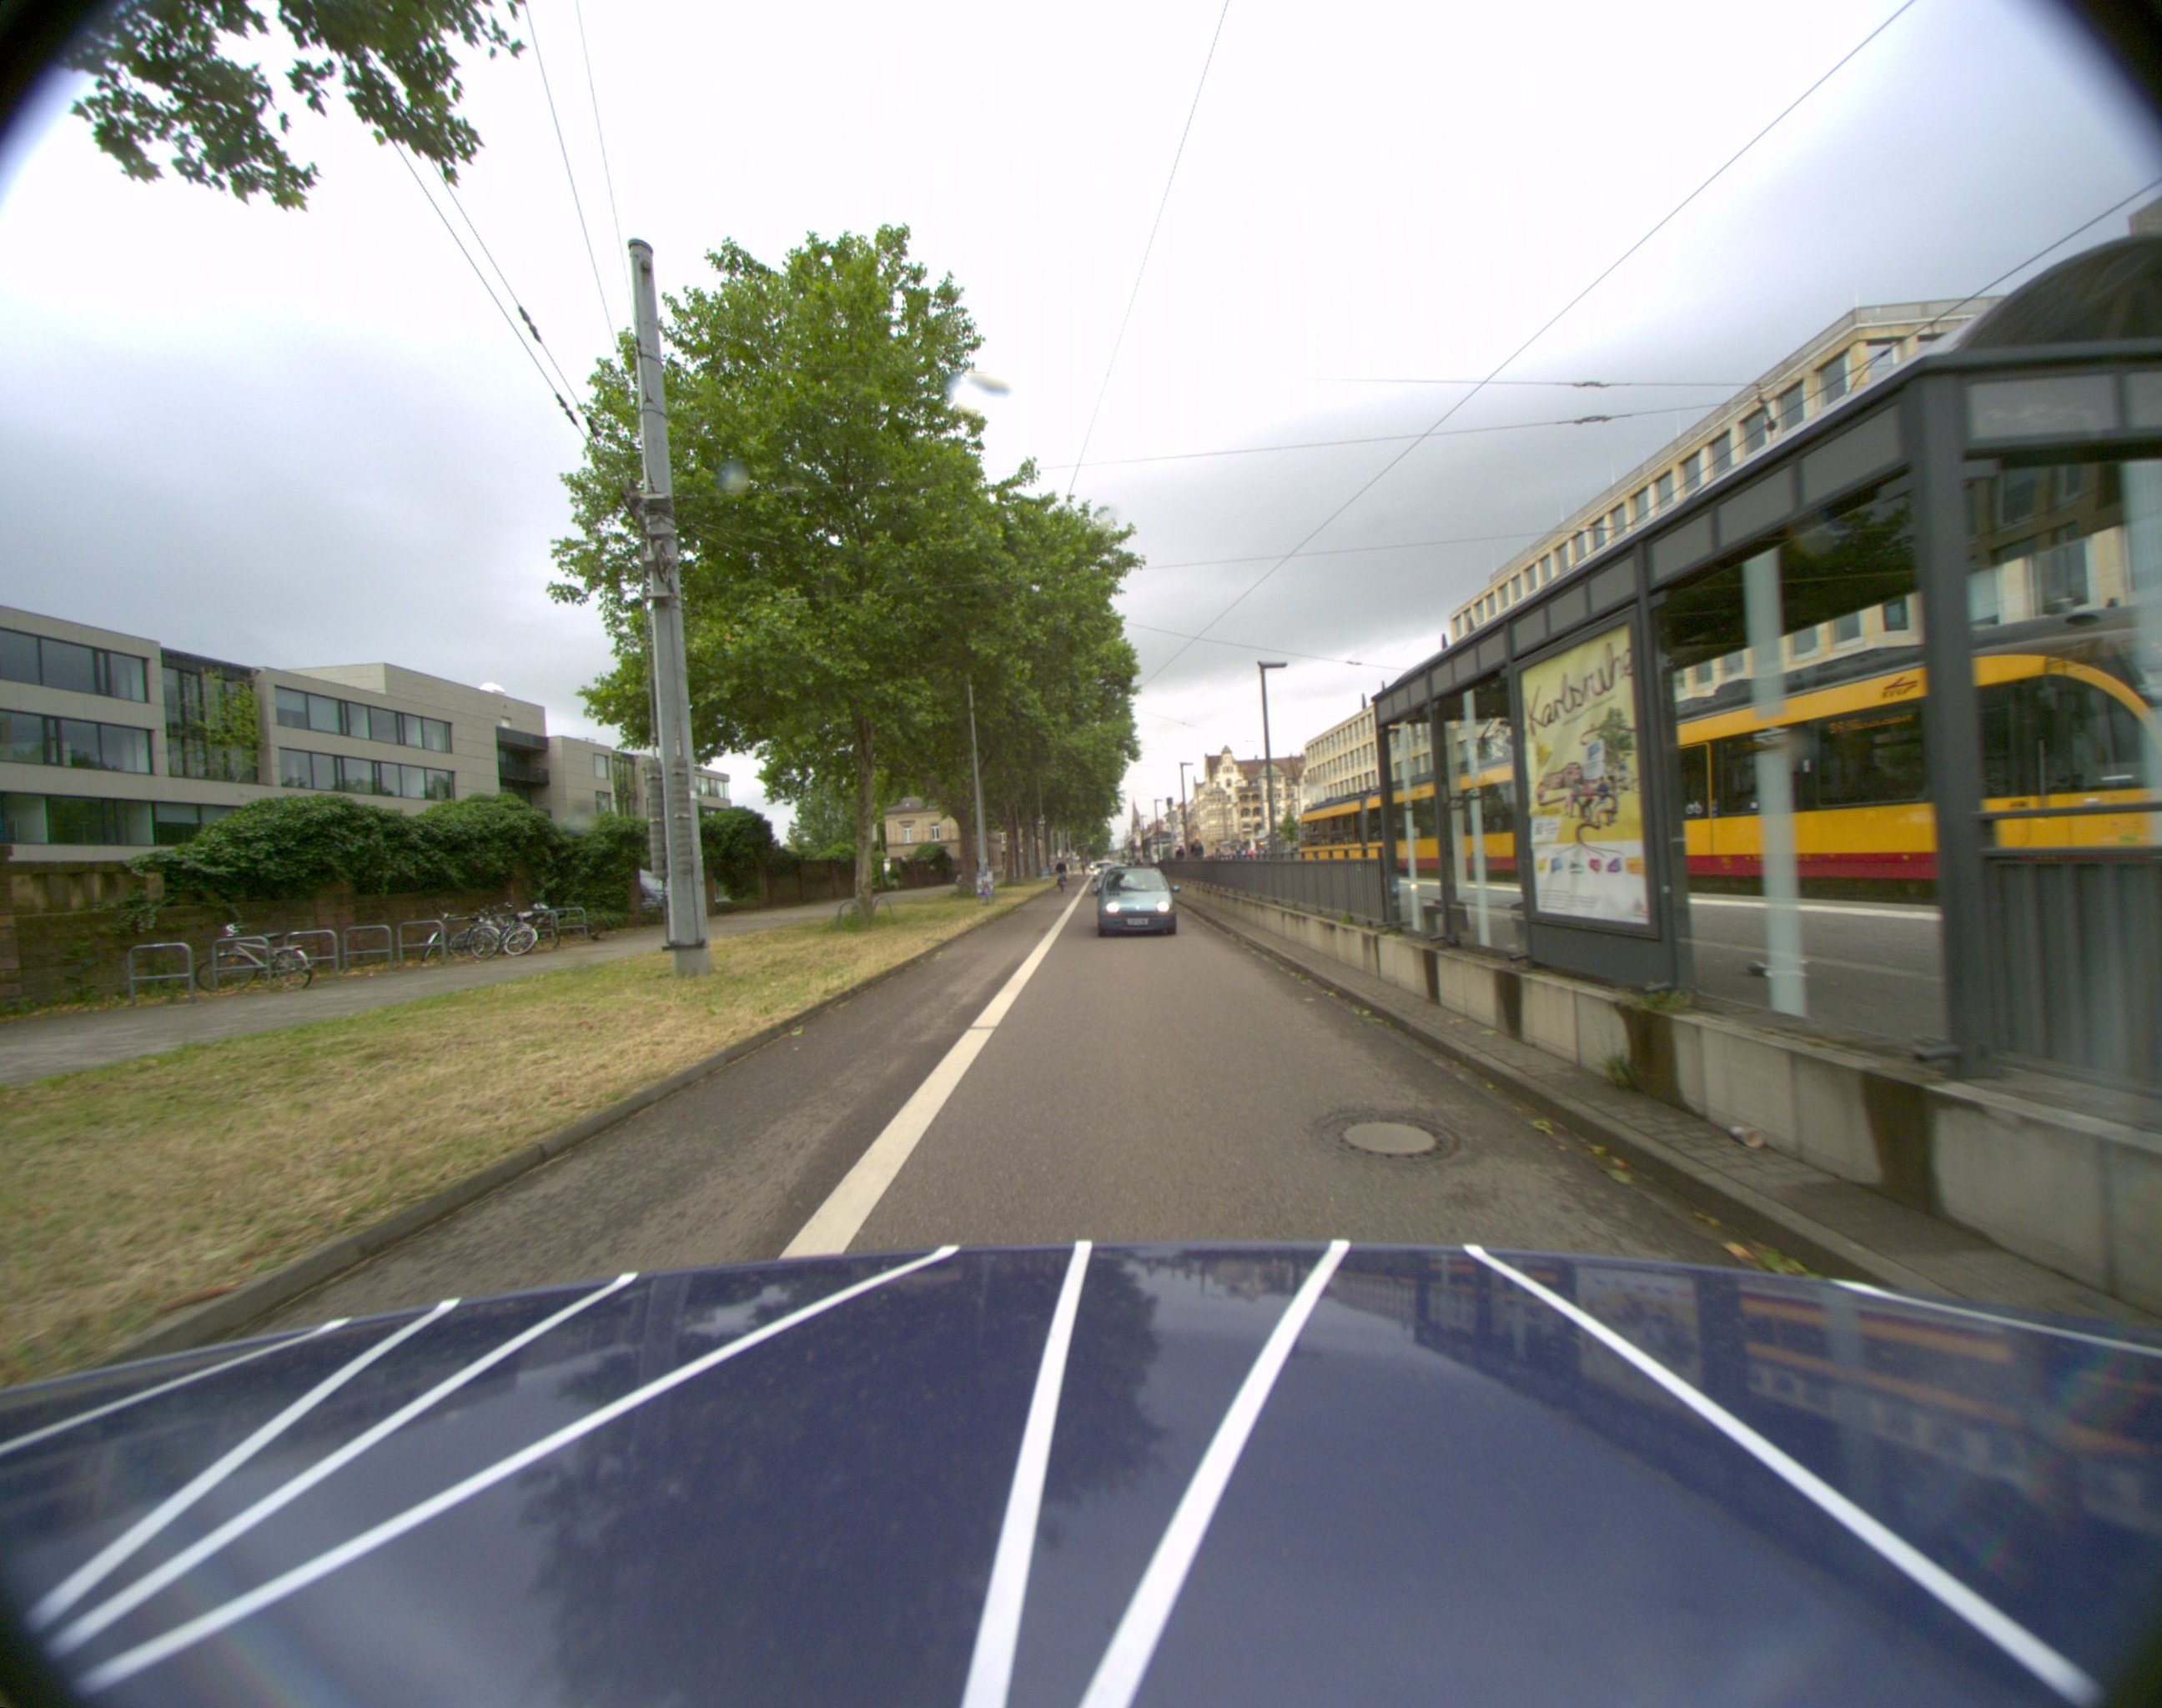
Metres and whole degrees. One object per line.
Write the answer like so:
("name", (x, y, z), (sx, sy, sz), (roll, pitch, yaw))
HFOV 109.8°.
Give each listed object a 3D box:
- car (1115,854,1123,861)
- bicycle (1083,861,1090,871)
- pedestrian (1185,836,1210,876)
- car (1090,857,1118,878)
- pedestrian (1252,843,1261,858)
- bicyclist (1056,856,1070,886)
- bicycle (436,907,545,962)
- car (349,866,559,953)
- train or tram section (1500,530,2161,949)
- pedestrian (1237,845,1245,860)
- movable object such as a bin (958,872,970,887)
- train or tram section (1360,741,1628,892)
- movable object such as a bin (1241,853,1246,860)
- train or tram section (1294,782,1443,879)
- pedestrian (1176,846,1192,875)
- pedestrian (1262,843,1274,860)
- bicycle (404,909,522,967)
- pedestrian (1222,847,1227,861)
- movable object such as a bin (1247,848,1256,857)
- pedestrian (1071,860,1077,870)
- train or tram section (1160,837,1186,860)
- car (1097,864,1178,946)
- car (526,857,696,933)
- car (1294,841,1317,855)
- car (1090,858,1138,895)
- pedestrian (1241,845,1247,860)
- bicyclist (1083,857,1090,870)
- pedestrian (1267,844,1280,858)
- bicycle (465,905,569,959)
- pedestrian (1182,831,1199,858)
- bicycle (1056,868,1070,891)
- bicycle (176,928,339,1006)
("car", (9.180, 0.841, 183.525), (1.869, 1.630, 3.775), (-3, 0, 0))
("bicycle", (0.680, 1.492, 96.455), (0.814, 1.163, 2.277), (-3, 0, 0))
("pedestrian", (6.100, 0.119, 39.876), (1.061, 2.002, 0.840), (-3, 1, 2))
("car", (1.810, 0.997, 58.362), (1.998, 1.443, 4.100), (-3, 0, 2))
("pedestrian", (19.152, -0.403, 83.111), (0.580, 1.598, 0.655), (-4, 1, -31))
("bicyclist", (-0.978, 0.914, 40.818), (0.642, 1.522, 0.664), (-3, 1, 0))
("bicycle", (-12.834, 1.740, 16.534), (1.905, 1.091, 0.550), (-2, 1, 0))
("car", (-19.843, 1.723, 24.190), (5.108, 2.251, 1.666), (-5, 1, -1))
("train or tram section", (12.577, -1.252, 13.347), (3.188, 4.154, 13.621), (-3, 0, 2))
("pedestrian", (19.312, -0.187, 91.930), (0.589, 1.759, 0.596), (-4, 1, -35))
("movable object such as a bin", (-9.112, 1.984, 59.140), (0.613, 1.105, 1.015), (-3, 0, 8))
("train or tram section", (13.073, -1.029, 25.884), (3.171, 3.839, 11.312), (-3, 0, 2))
("movable object such as a bin", (18.134, 0.281, 84.756), (0.536, 0.743, 0.469), (-3, 1, 9))
("train or tram section", (13.537, -1.017, 37.236), (3.245, 3.839, 11.312), (-3, 0, 2))
("pedestrian", (6.626, 0.416, 49.077), (0.672, 1.783, 1.112), (-4, 1, -7))
("pedestrian", (19.683, -0.243, 80.103), (1.040, 1.676, 0.939), (-3, 1, 5))
("bicycle", (-12.916, 1.747, 15.898), (1.979, 1.088, 0.550), (-2, 1, 0))
("pedestrian", (18.498, -0.060, 97.868), (0.596, 1.759, 0.589), (-3, 1, 9))
("movable object such as a bin", (18.604, -0.167, 82.866), (0.622, 1.015, 0.721), (-4, 1, -31))
("pedestrian", (-1.086, 1.777, 118.168), (0.552, 1.519, 0.639), (-3, 1, 19))
("train or tram section", (15.890, -0.970, 131.899), (2.862, 3.670, 13.520), (-3, 0, 1))
("car", (1.199, 1.029, 16.624), (1.534, 1.464, 3.354), (-3, 0, 3))
("car", (-18.571, 1.583, 30.217), (5.245, 2.407, 2.075), (-5, 1, -1))
("car", (29.323, -0.830, 99.497), (1.998, 1.652, 4.001), (-3, 0, 4))
("car", (1.520, 1.004, 35.156), (1.998, 1.443, 4.100), (-3, 0, 2))
("pedestrian", (18.028, -0.171, 84.238), (0.536, 1.598, 0.565), (-3, 1, 9))
("bicyclist", (0.668, 1.177, 96.468), (0.812, 1.591, 1.189), (-3, 1, -1))
("pedestrian", (19.818, -0.299, 78.283), (1.040, 1.364, 0.939), (-3, 1, 5))
("bicycle", (-12.671, 1.739, 17.104), (1.894, 1.098, 0.550), (-2, 1, 0))
("pedestrian", (7.249, -0.618, 50.339), (0.672, 1.783, 1.112), (-4, 1, -11))
("bicycle", (-0.954, 1.360, 40.808), (0.654, 1.143, 2.283), (-3, 0, 0))
("bicycle", (-12.930, 1.762, 11.954), (1.926, 1.085, 0.550), (-2, 1, 0))
